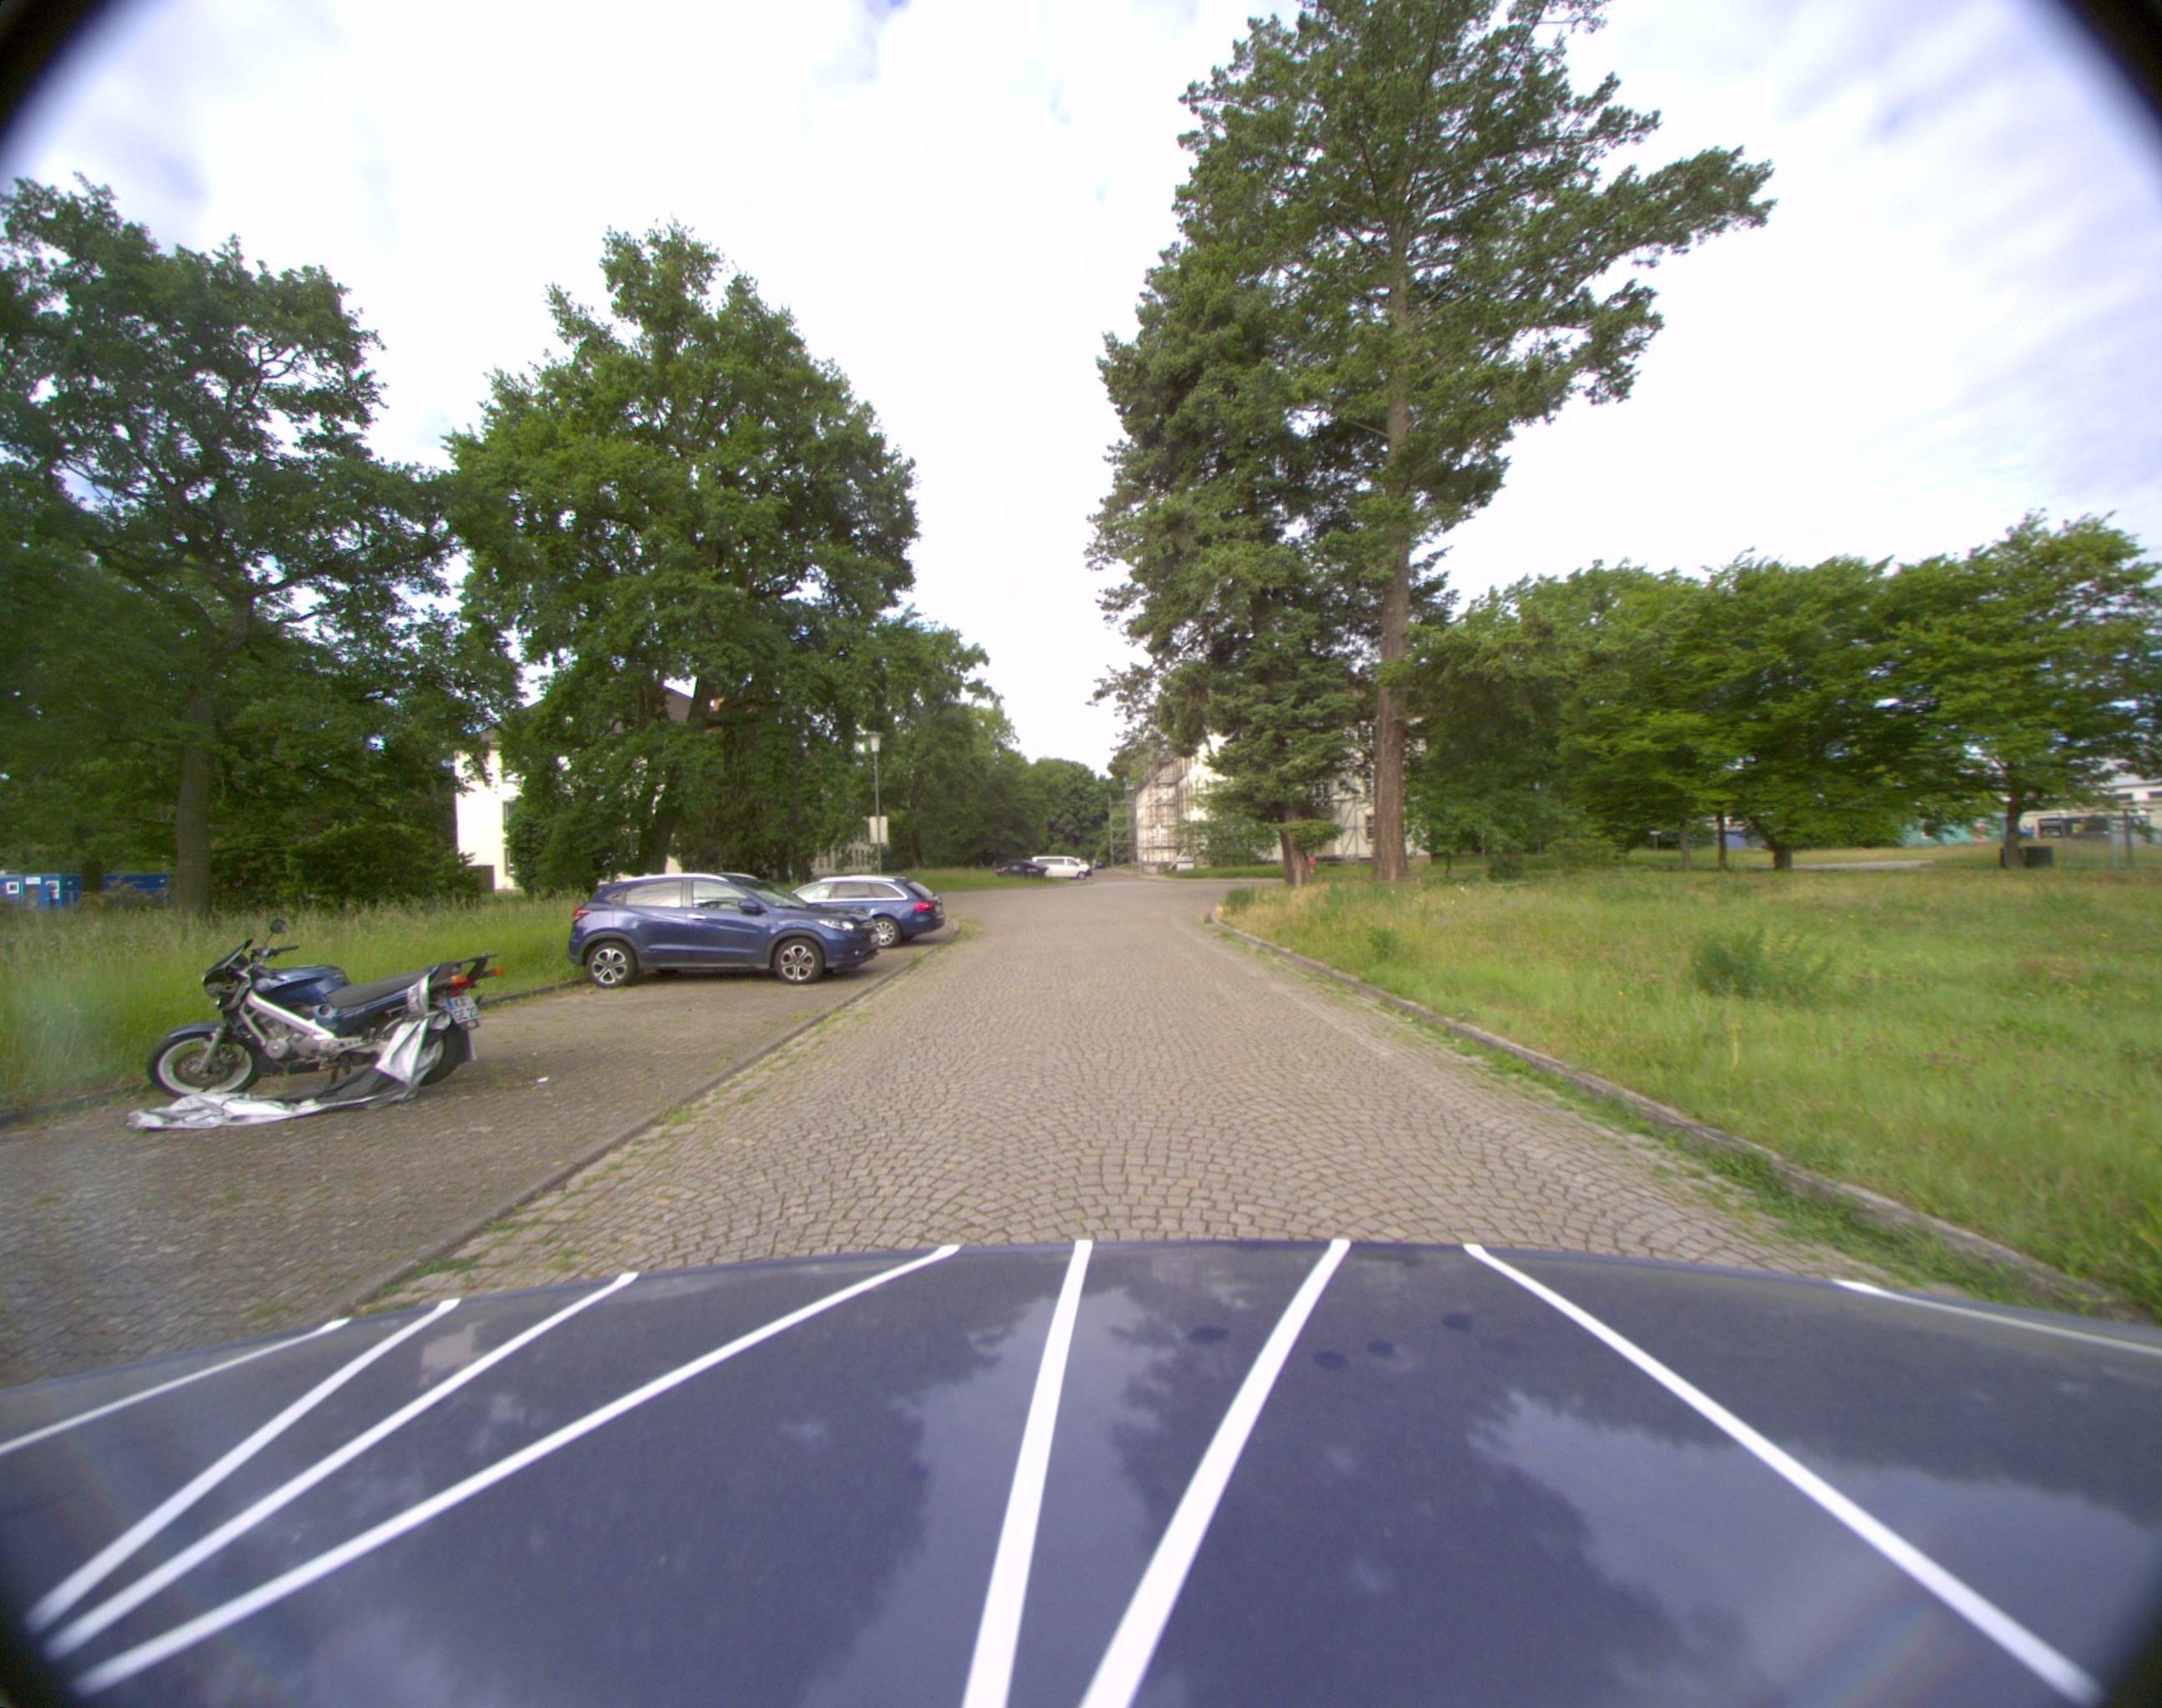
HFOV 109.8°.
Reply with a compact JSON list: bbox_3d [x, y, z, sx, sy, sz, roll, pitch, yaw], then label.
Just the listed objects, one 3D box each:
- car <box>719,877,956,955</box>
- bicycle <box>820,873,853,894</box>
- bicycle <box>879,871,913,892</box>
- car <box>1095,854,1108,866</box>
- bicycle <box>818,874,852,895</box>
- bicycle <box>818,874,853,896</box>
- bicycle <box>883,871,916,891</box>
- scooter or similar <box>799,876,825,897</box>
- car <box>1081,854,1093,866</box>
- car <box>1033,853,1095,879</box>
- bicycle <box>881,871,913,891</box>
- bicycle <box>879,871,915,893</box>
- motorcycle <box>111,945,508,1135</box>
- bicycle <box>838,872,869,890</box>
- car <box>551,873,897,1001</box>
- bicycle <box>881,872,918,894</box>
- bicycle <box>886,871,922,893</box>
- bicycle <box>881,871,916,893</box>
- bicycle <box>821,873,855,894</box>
[{"bbox_3d":[-5.026,1.271,16.130,4.367,1.430,1.927,-1,0,2],"label":"car"},{"bbox_3d":[-14.819,1.800,46.070,1.861,1.163,0.487,-3,0,-22],"label":"bicycle"},{"bbox_3d":[-11.764,1.733,48.303,1.941,1.163,0.487,-4,1,-22],"label":"bicycle"},{"bbox_3d":[3.580,0.966,131.412,1.963,2.002,4.260,-1,0,-2],"label":"car"},{"bbox_3d":[-14.688,1.794,45.360,1.862,1.163,0.487,-3,0,-26],"label":"bicycle"},{"bbox_3d":[-14.483,1.808,44.794,1.862,1.163,0.487,-3,0,-26],"label":"bicycle"},{"bbox_3d":[-11.698,1.728,48.917,1.941,1.163,0.487,-4,1,-22],"label":"bicycle"},{"bbox_3d":[-15.568,1.876,44.005,1.308,1.163,0.413,-3,1,-1],"label":"scooter or similar"},{"bbox_3d":[1.046,1.057,131.151,1.963,2.002,4.260,-1,0,-2],"label":"car"},{"bbox_3d":[-1.414,1.009,64.958,5.149,2.002,2.000,-1,0,0],"label":"car"},{"bbox_3d":[-12.145,1.751,50.152,1.941,1.163,0.537,-4,1,-16],"label":"bicycle"},{"bbox_3d":[-11.145,1.702,46.060,1.942,1.163,0.487,-4,1,-25],"label":"bicycle"},{"bbox_3d":[-5.575,1.325,5.576,2.236,1.195,0.568,-1,0,-2],"label":"motorcycle"},{"bbox_3d":[-14.792,1.752,49.359,1.860,1.163,0.488,-1,0,-10],"label":"bicycle"},{"bbox_3d":[-5.115,1.165,11.388,4.256,1.613,1.886,-1,0,-2],"label":"car"},{"bbox_3d":[-10.619,1.676,44.468,1.942,1.163,0.487,-4,1,-28],"label":"bicycle"},{"bbox_3d":[-10.511,1.666,45.146,1.942,1.163,0.487,-4,1,-28],"label":"bicycle"},{"bbox_3d":[-11.210,1.704,46.673,1.942,1.163,0.487,-4,1,-25],"label":"bicycle"},{"bbox_3d":[-14.968,1.807,46.836,1.862,1.163,0.487,-3,0,-29],"label":"bicycle"}]
